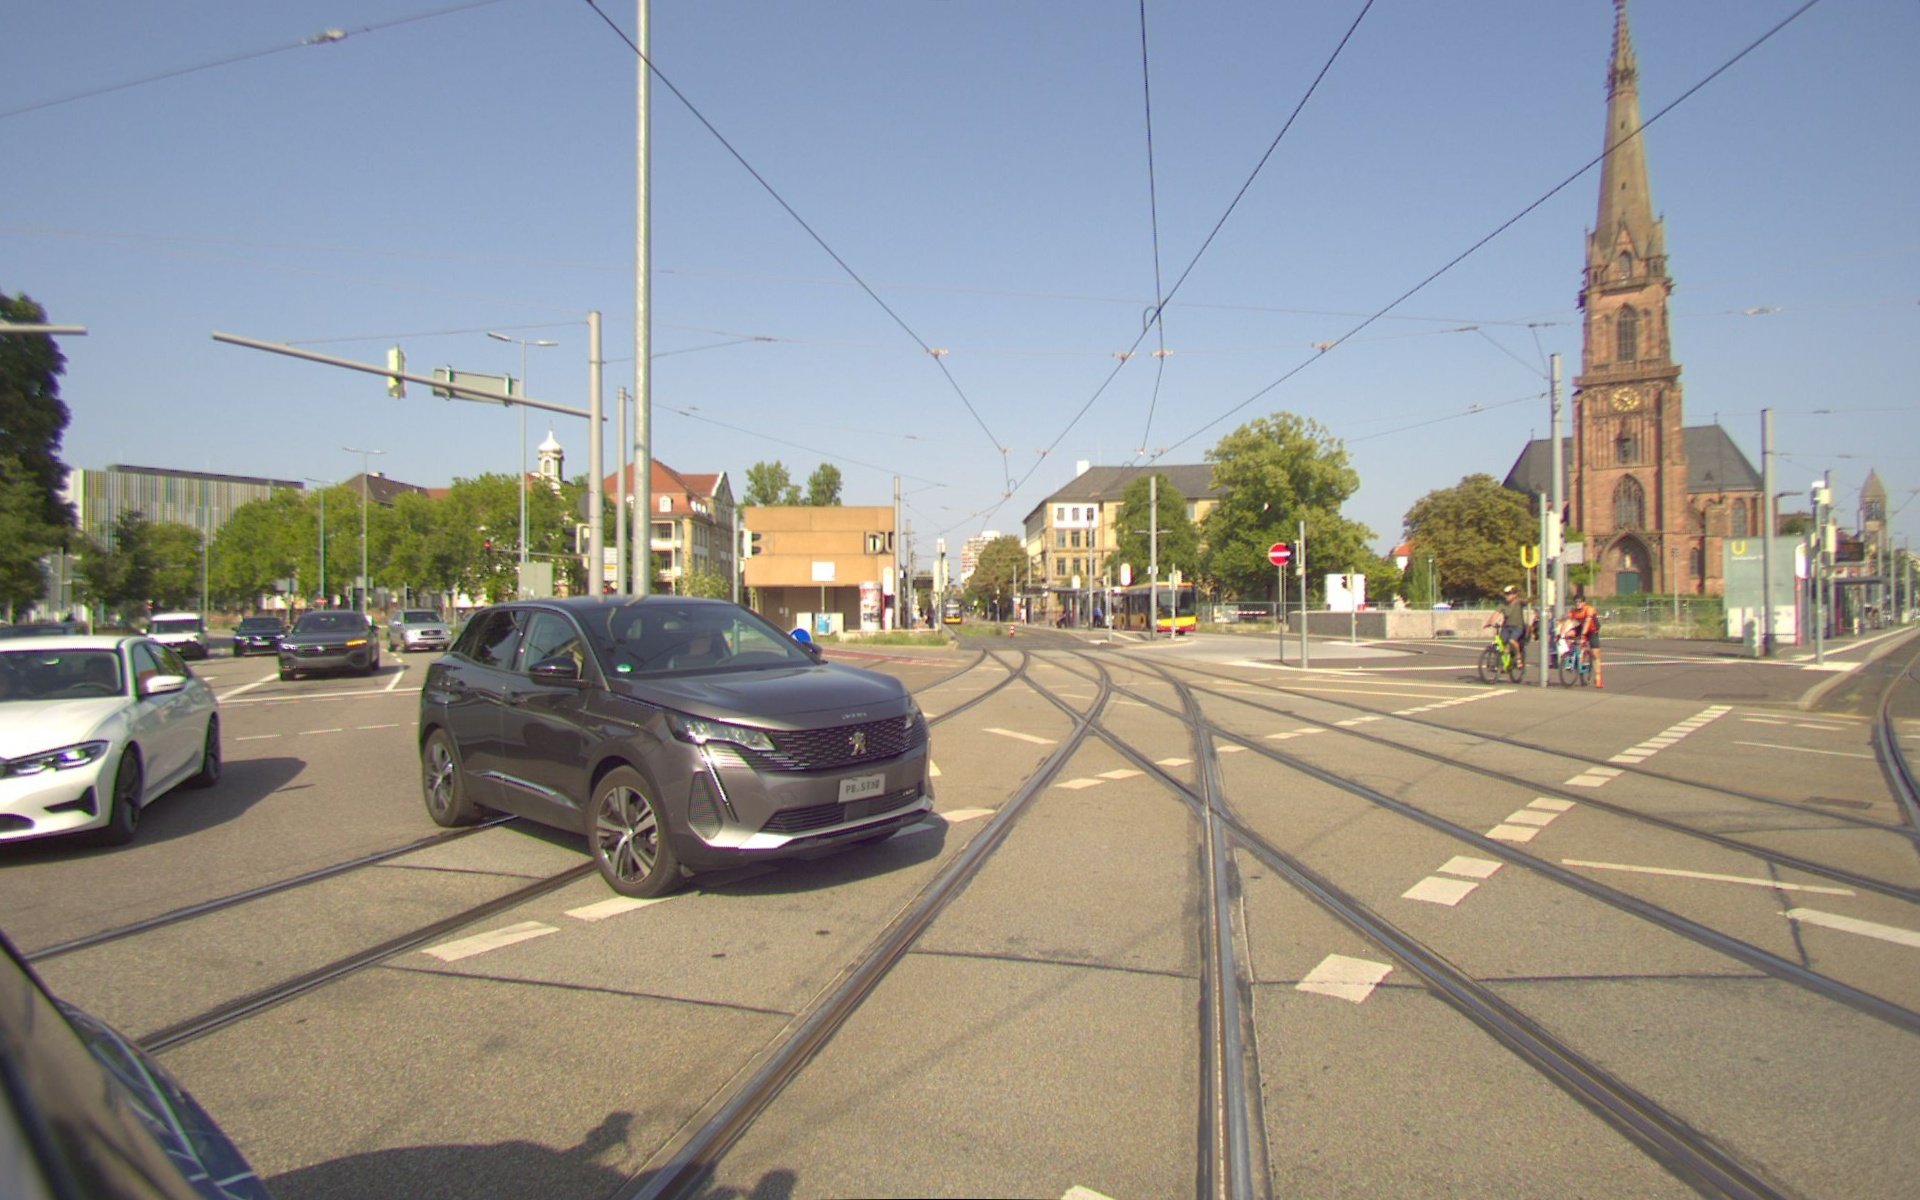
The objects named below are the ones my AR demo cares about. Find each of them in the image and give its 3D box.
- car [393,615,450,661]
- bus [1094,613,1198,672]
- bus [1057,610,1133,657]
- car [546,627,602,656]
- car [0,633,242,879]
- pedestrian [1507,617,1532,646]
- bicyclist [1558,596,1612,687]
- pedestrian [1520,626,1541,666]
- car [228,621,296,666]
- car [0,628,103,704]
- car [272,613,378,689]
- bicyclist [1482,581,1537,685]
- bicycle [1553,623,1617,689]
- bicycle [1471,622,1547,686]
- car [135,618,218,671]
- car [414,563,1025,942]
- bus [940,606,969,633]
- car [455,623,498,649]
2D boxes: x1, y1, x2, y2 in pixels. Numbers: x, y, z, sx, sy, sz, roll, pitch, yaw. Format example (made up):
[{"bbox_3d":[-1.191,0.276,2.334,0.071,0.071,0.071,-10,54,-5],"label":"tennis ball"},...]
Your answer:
[{"bbox_3d":[-22.133,1.536,41.549,1.919,1.720,4.303,-2,-1,-29],"label":"car"},{"bbox_3d":[11.168,2.534,62.626,3.177,3.203,13.326,0,-2,-4],"label":"bus"},{"bbox_3d":[10.006,2.528,76.940,3.177,3.203,13.326,0,-2,-4],"label":"bus"},{"bbox_3d":[-21.206,2.243,55.525,1.754,1.519,4.007,1,-2,-39],"label":"car"},{"bbox_3d":[-7.111,0.986,7.882,1.783,1.438,4.789,0,-2,-27],"label":"car"},{"bbox_3d":[25.662,1.460,46.426,0.757,1.302,0.558,0,-2,-1],"label":"pedestrian"},{"bbox_3d":[11.642,0.762,18.856,0.794,1.642,0.513,0,-1,-30],"label":"bicyclist"},{"bbox_3d":[25.806,2.082,45.787,0.632,1.774,0.443,0,-2,-2],"label":"pedestrian"},{"bbox_3d":[-29.083,1.776,42.300,1.738,1.720,4.303,-2,-1,-27],"label":"car"},{"bbox_3d":[-21.261,1.461,23.110,1.714,1.594,3.988,-1,-1,-27],"label":"car"},{"bbox_3d":[-16.341,1.272,26.232,1.893,1.720,4.303,-2,-1,-27],"label":"car"},{"bbox_3d":[10.701,0.633,19.717,0.794,1.989,0.583,0,-1,-30],"label":"bicyclist"},{"bbox_3d":[11.673,1.028,18.887,1.473,1.174,0.312,0,-1,-30],"label":"bicycle"},{"bbox_3d":[10.699,1.033,19.704,1.827,1.174,0.378,0,-1,-30],"label":"bicycle"},{"bbox_3d":[-30.864,1.723,39.982,1.764,1.900,4.303,-2,-1,-27],"label":"car"},{"bbox_3d":[-1.847,0.722,6.646,1.970,1.633,4.360,1,-2,-44],"label":"car"},{"bbox_3d":[-0.844,2.720,137.266,3.177,3.445,13.326,0,-2,-4],"label":"bus"},{"bbox_3d":[-28.004,2.103,58.598,1.470,1.462,3.530,1,-2,-39],"label":"car"}]
